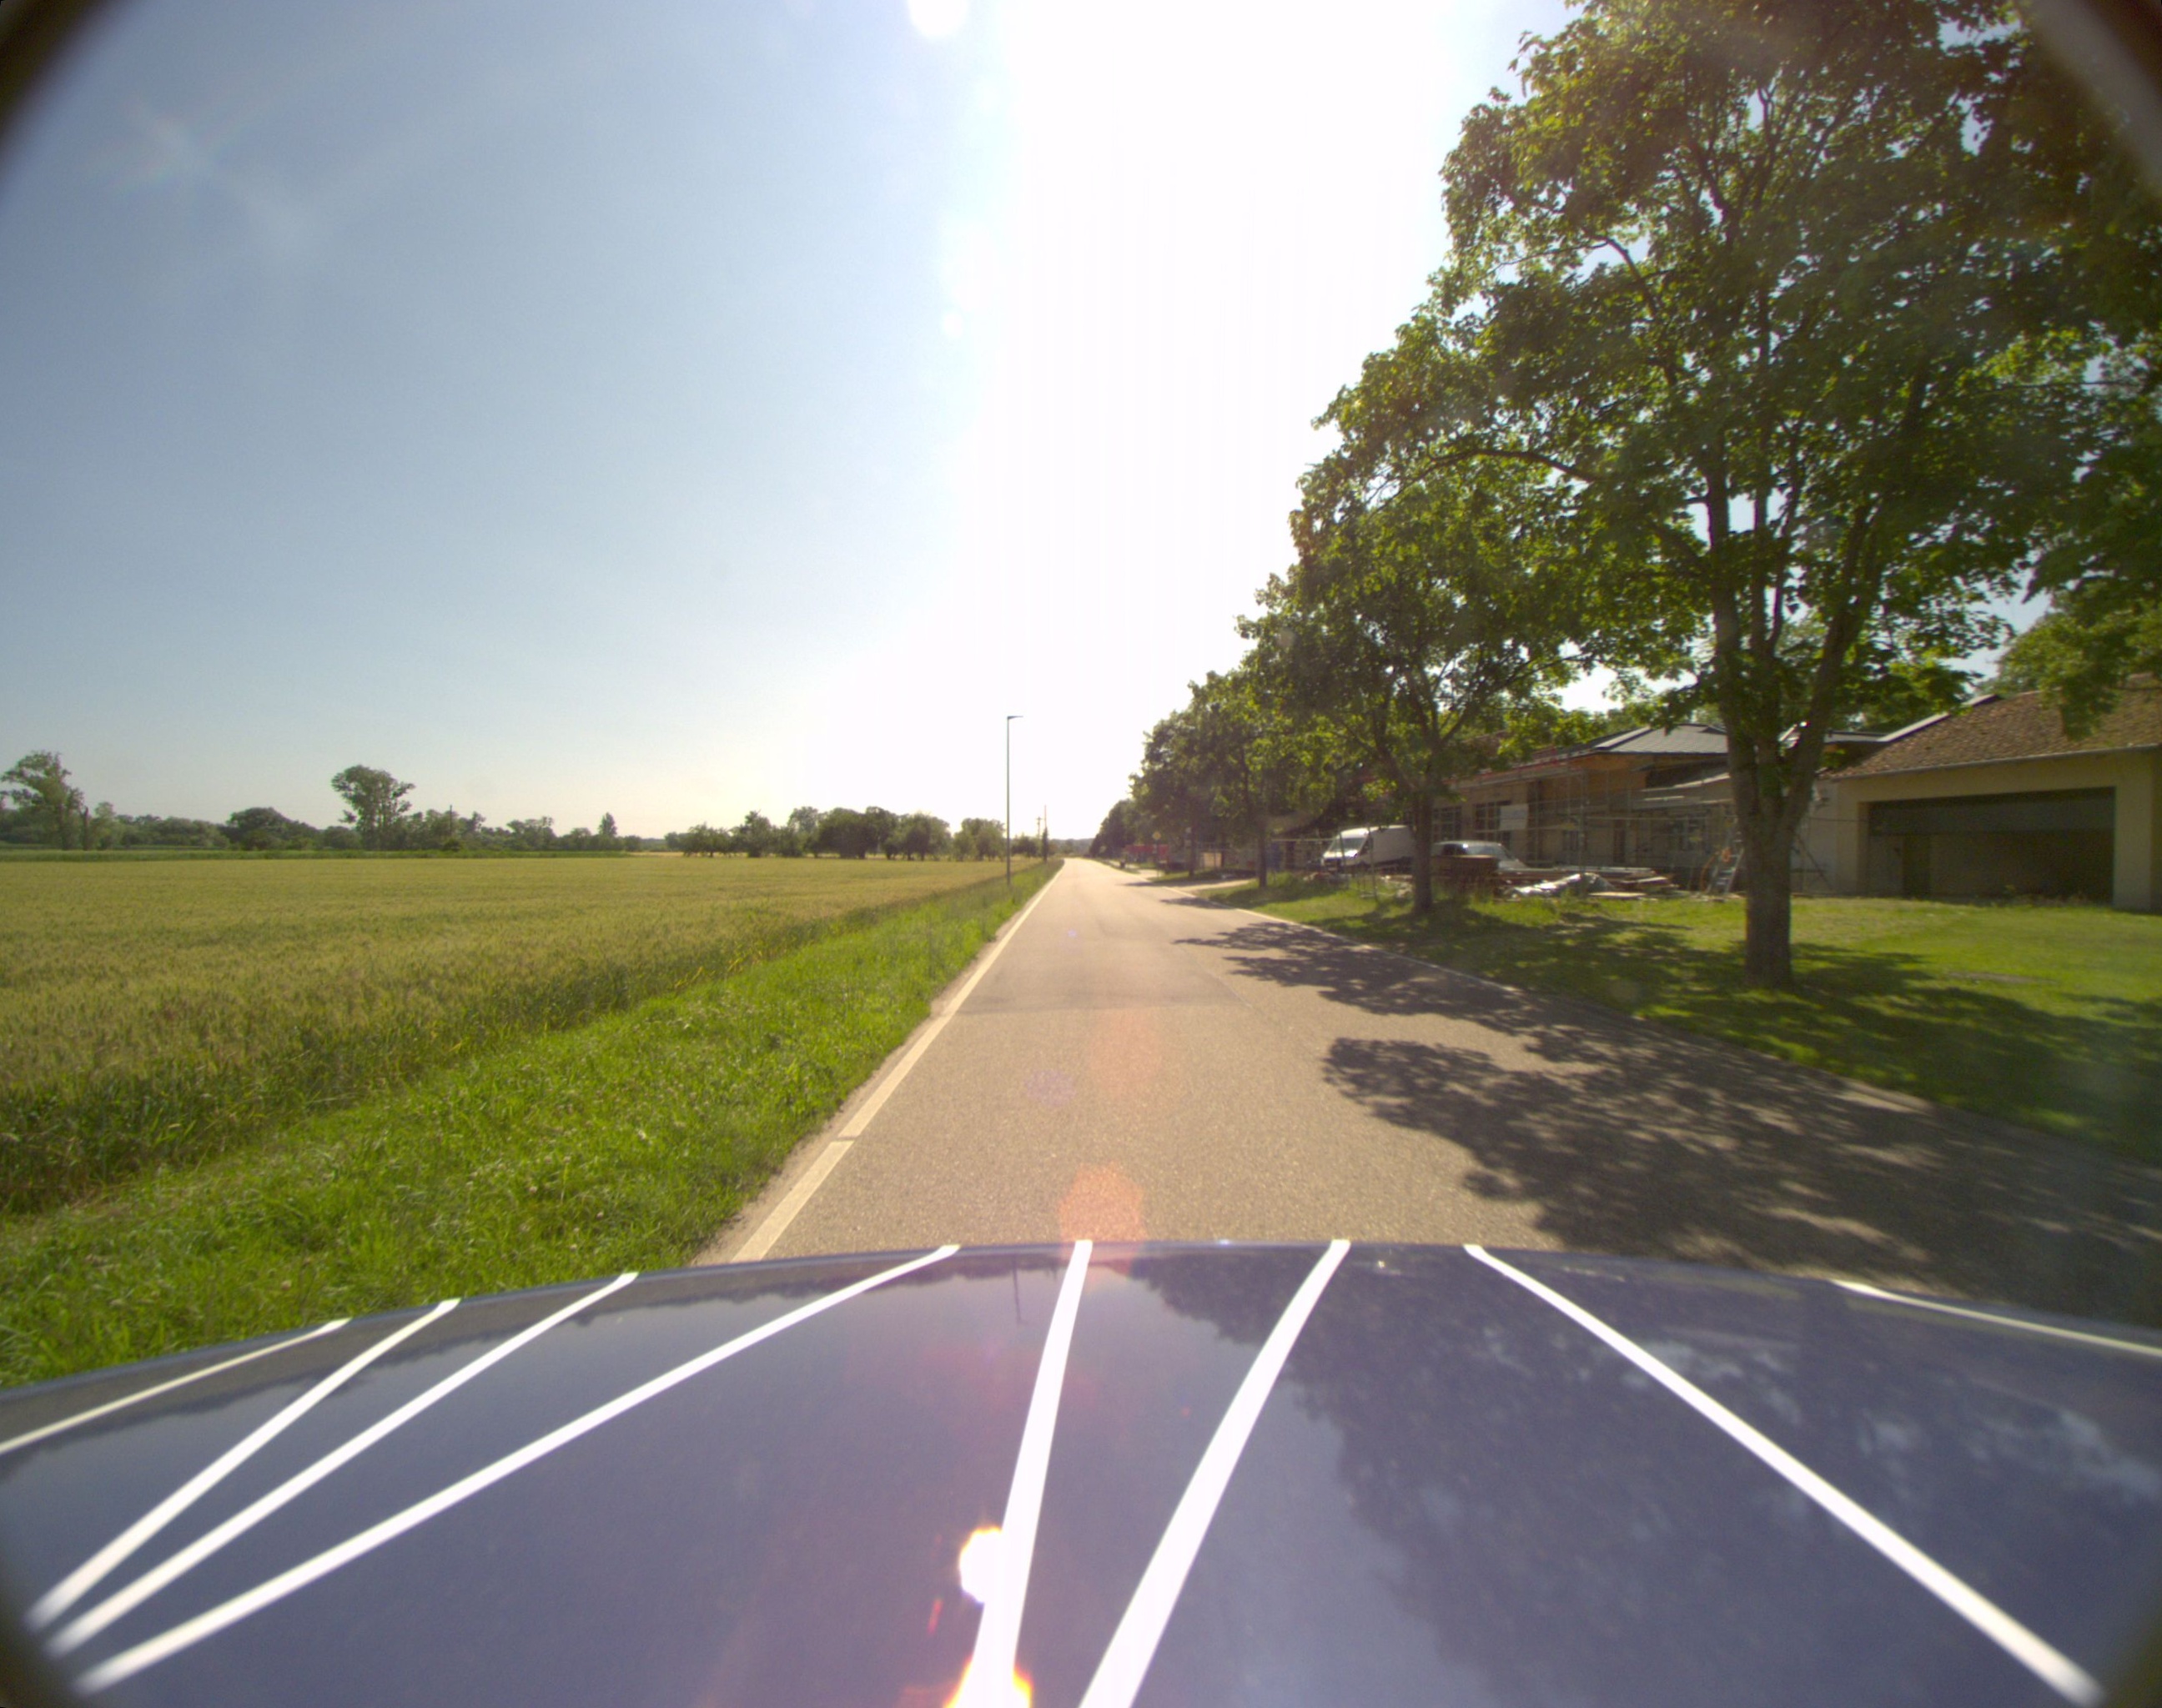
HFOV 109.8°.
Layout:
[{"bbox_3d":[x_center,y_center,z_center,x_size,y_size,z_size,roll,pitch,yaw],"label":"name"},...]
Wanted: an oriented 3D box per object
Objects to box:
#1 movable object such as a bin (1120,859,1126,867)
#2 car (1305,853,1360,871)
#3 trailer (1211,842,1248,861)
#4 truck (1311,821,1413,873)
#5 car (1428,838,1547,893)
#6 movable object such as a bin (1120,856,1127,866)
[{"bbox_3d":[4.408,0.938,79.542,0.563,0.872,0.614,1,1,7],"label":"movable object such as a bin"},{"bbox_3d":[20.127,0.624,60.848,3.812,1.391,1.758,1,0,-8],"label":"car"},{"bbox_3d":[18.850,-0.330,96.283,4.239,2.264,1.826,1,1,-14],"label":"trailer"},{"bbox_3d":[14.384,-0.380,38.713,5.943,2.469,1.994,-1,1,-37],"label":"truck"},{"bbox_3d":[14.600,0.387,27.586,1.975,1.827,4.327,0,0,-1],"label":"car"},{"bbox_3d":[4.522,0.750,80.225,0.700,1.018,0.748,1,1,7],"label":"movable object such as a bin"}]
